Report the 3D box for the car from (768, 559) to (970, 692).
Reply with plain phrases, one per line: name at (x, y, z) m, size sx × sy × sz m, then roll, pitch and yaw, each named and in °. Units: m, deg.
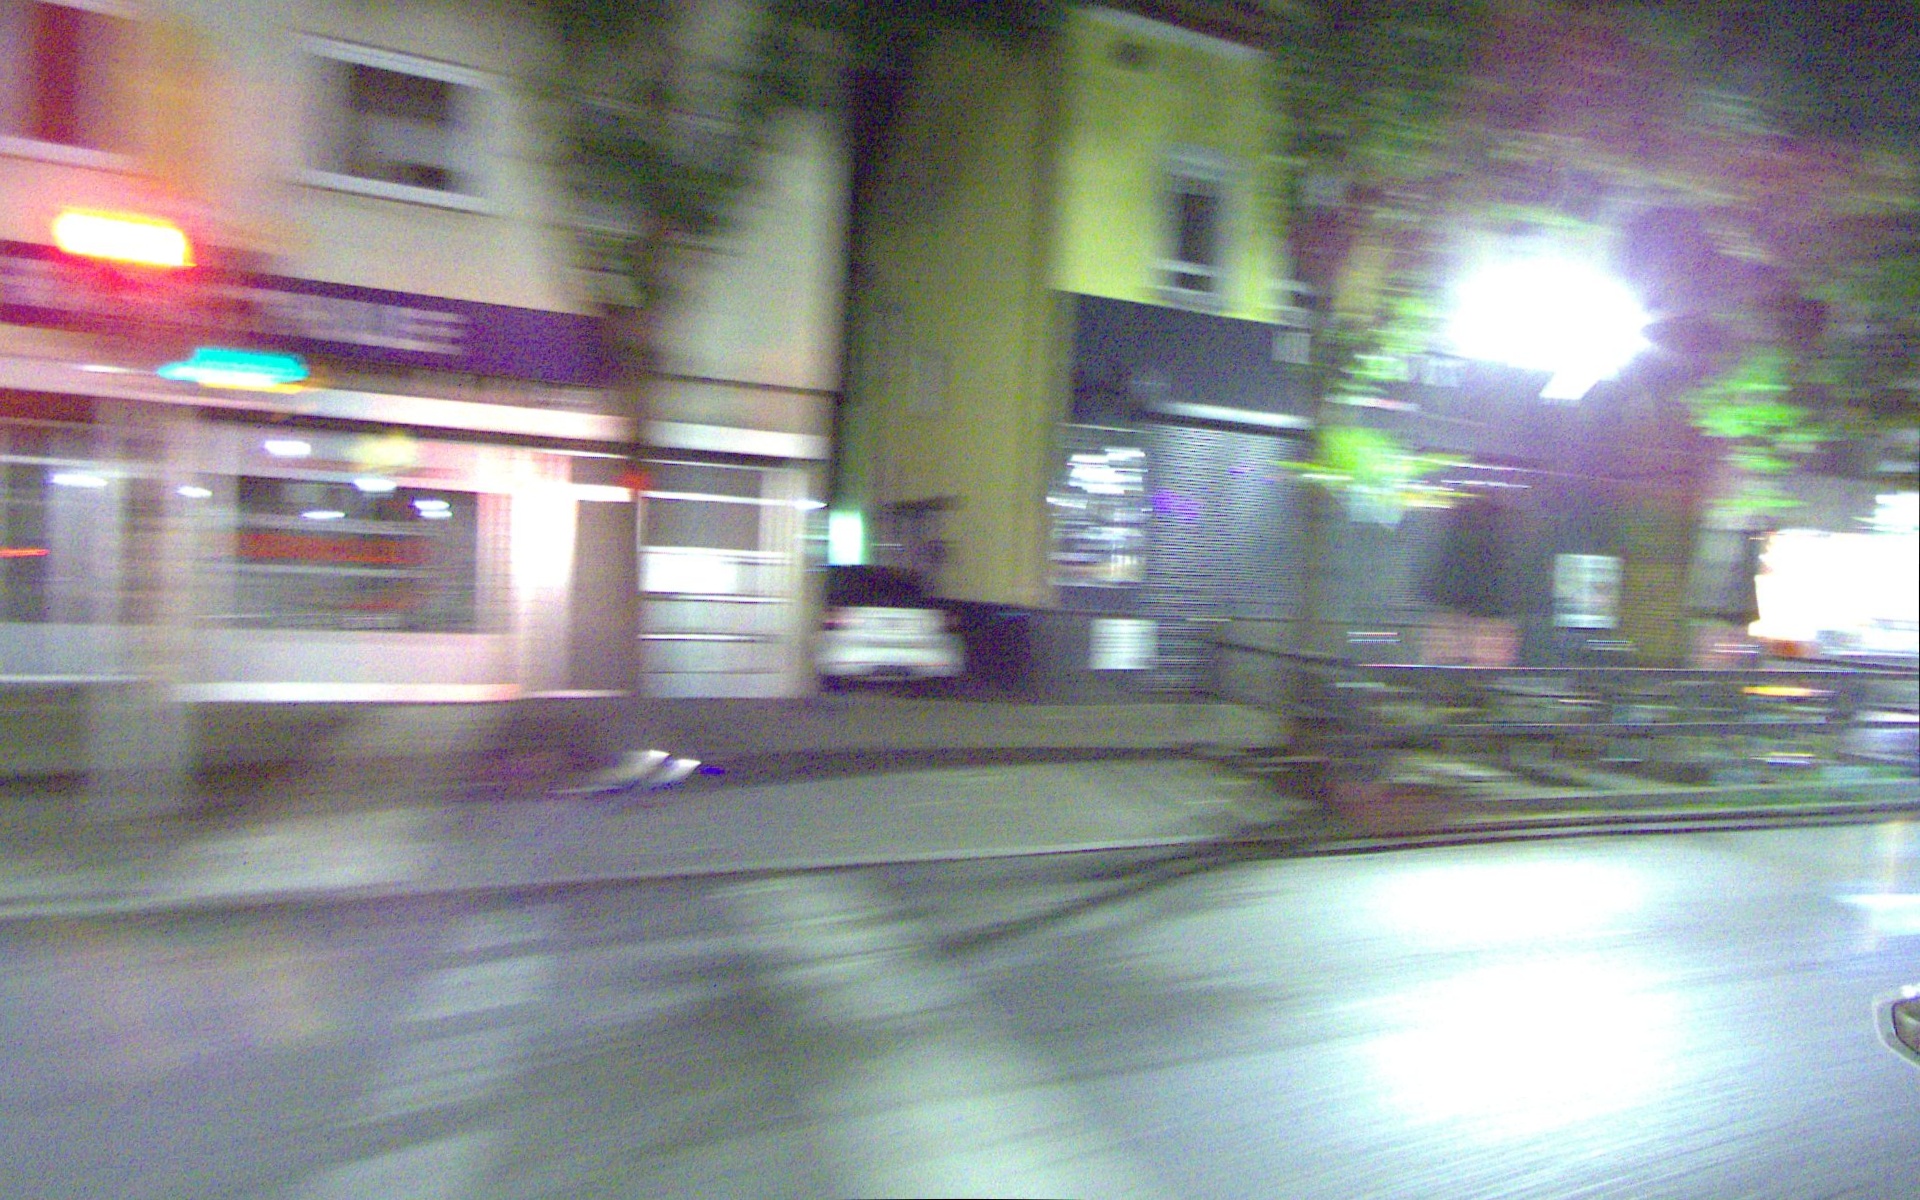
car at (-1.419, 0.248, 13.854) m, size 1.792 × 1.547 × 3.981 m, roll 2°, pitch 2°, yaw -20°
